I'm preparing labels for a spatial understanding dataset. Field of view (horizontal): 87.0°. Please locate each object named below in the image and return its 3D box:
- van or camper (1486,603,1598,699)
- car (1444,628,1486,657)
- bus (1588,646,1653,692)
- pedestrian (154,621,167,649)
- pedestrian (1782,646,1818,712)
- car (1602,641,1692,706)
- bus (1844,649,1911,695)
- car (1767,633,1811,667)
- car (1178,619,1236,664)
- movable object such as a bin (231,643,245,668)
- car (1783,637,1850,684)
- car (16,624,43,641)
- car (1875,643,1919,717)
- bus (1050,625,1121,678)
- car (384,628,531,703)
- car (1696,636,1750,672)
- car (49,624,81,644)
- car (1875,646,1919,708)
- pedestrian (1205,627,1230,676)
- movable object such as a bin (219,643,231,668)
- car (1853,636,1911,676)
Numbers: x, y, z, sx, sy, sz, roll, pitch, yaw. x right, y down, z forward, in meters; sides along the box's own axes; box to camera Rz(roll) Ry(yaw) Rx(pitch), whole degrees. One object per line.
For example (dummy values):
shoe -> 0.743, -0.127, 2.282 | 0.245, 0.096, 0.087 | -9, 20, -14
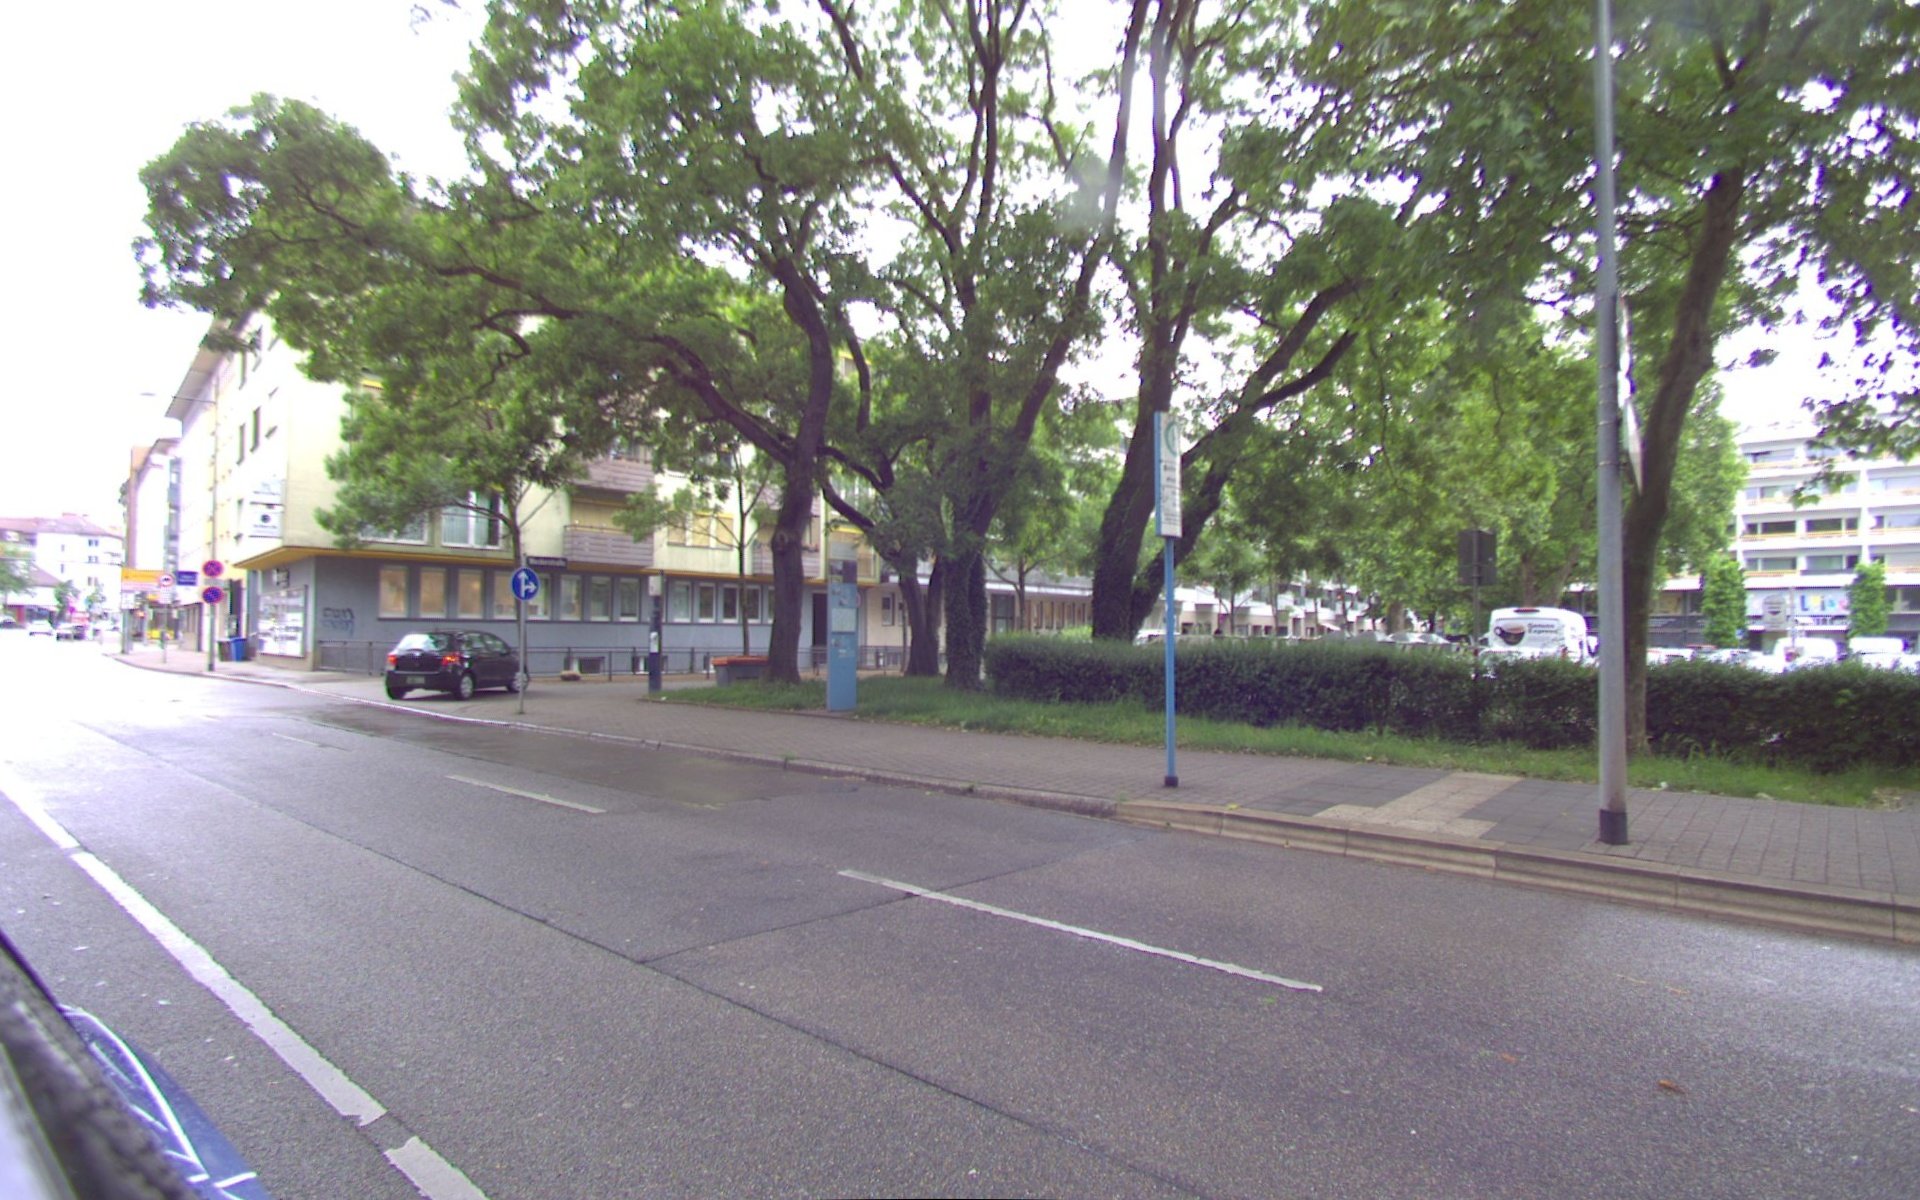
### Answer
van or camper -> 16.848, 1.458, 29.200 | 2.097, 2.556, 4.367 | -1, -3, 40
car -> 27.339, 2.288, 54.760 | 1.428, 1.439, 2.926 | -2, -1, 40
bus -> 24.157, 2.490, 36.963 | 1.604, 1.551, 3.385 | -1, -3, 40
pedestrian -> -54.110, 2.384, 68.530 | 0.586, 1.858, 0.565 | 3, -4, -42
pedestrian -> 16.099, 1.499, 19.396 | 0.465, 1.222, 0.433 | -1, 0, 34
car -> 16.735, 1.754, 24.610 | 1.391, 1.446, 3.227 | -2, -4, 41
bus -> 33.158, 2.571, 36.648 | 1.604, 1.551, 3.385 | -1, -3, 40
car -> 41.986, 2.500, 51.292 | 1.639, 1.536, 3.161 | -1, 0, 38
car -> 11.751, 1.964, 47.945 | 1.988, 2.029, 3.967 | 0, -3, 24
movable object such as a bin -> -29.882, 2.297, 41.882 | 0.409, 1.037, 0.354 | 3, -4, -42
car -> 28.176, 1.961, 33.342 | 1.604, 1.439, 3.275 | -1, -3, 40
car -> -98.482, 3.460, 107.122 | 4.002, 1.670, 1.842 | -2, -4, 45
car -> 19.931, 1.631, 20.934 | 1.391, 1.446, 3.227 | -2, -4, 41
bus -> 4.839, 1.963, 38.677 | 1.703, 1.939, 3.697 | 0, -3, 24
car -> -11.138, 1.451, 22.696 | 1.550, 1.500, 3.568 | 1, -3, -2
car -> 35.721, 2.483, 47.354 | 1.837, 1.435, 3.780 | -1, 0, 39
car -> -82.213, 3.131, 92.919 | 4.002, 1.730, 1.863 | -2, -4, 45
car -> 23.418, 1.866, 24.796 | 1.391, 1.446, 3.227 | -2, -4, 41
pedestrian -> 6.633, 1.322, 26.056 | 0.484, 1.222, 0.433 | -1, 0, 34
movable object such as a bin -> -30.307, 2.278, 41.737 | 0.333, 1.037, 0.354 | 3, -4, -42
car -> 40.395, 2.422, 44.412 | 1.639, 1.536, 3.161 | -1, 0, 38
